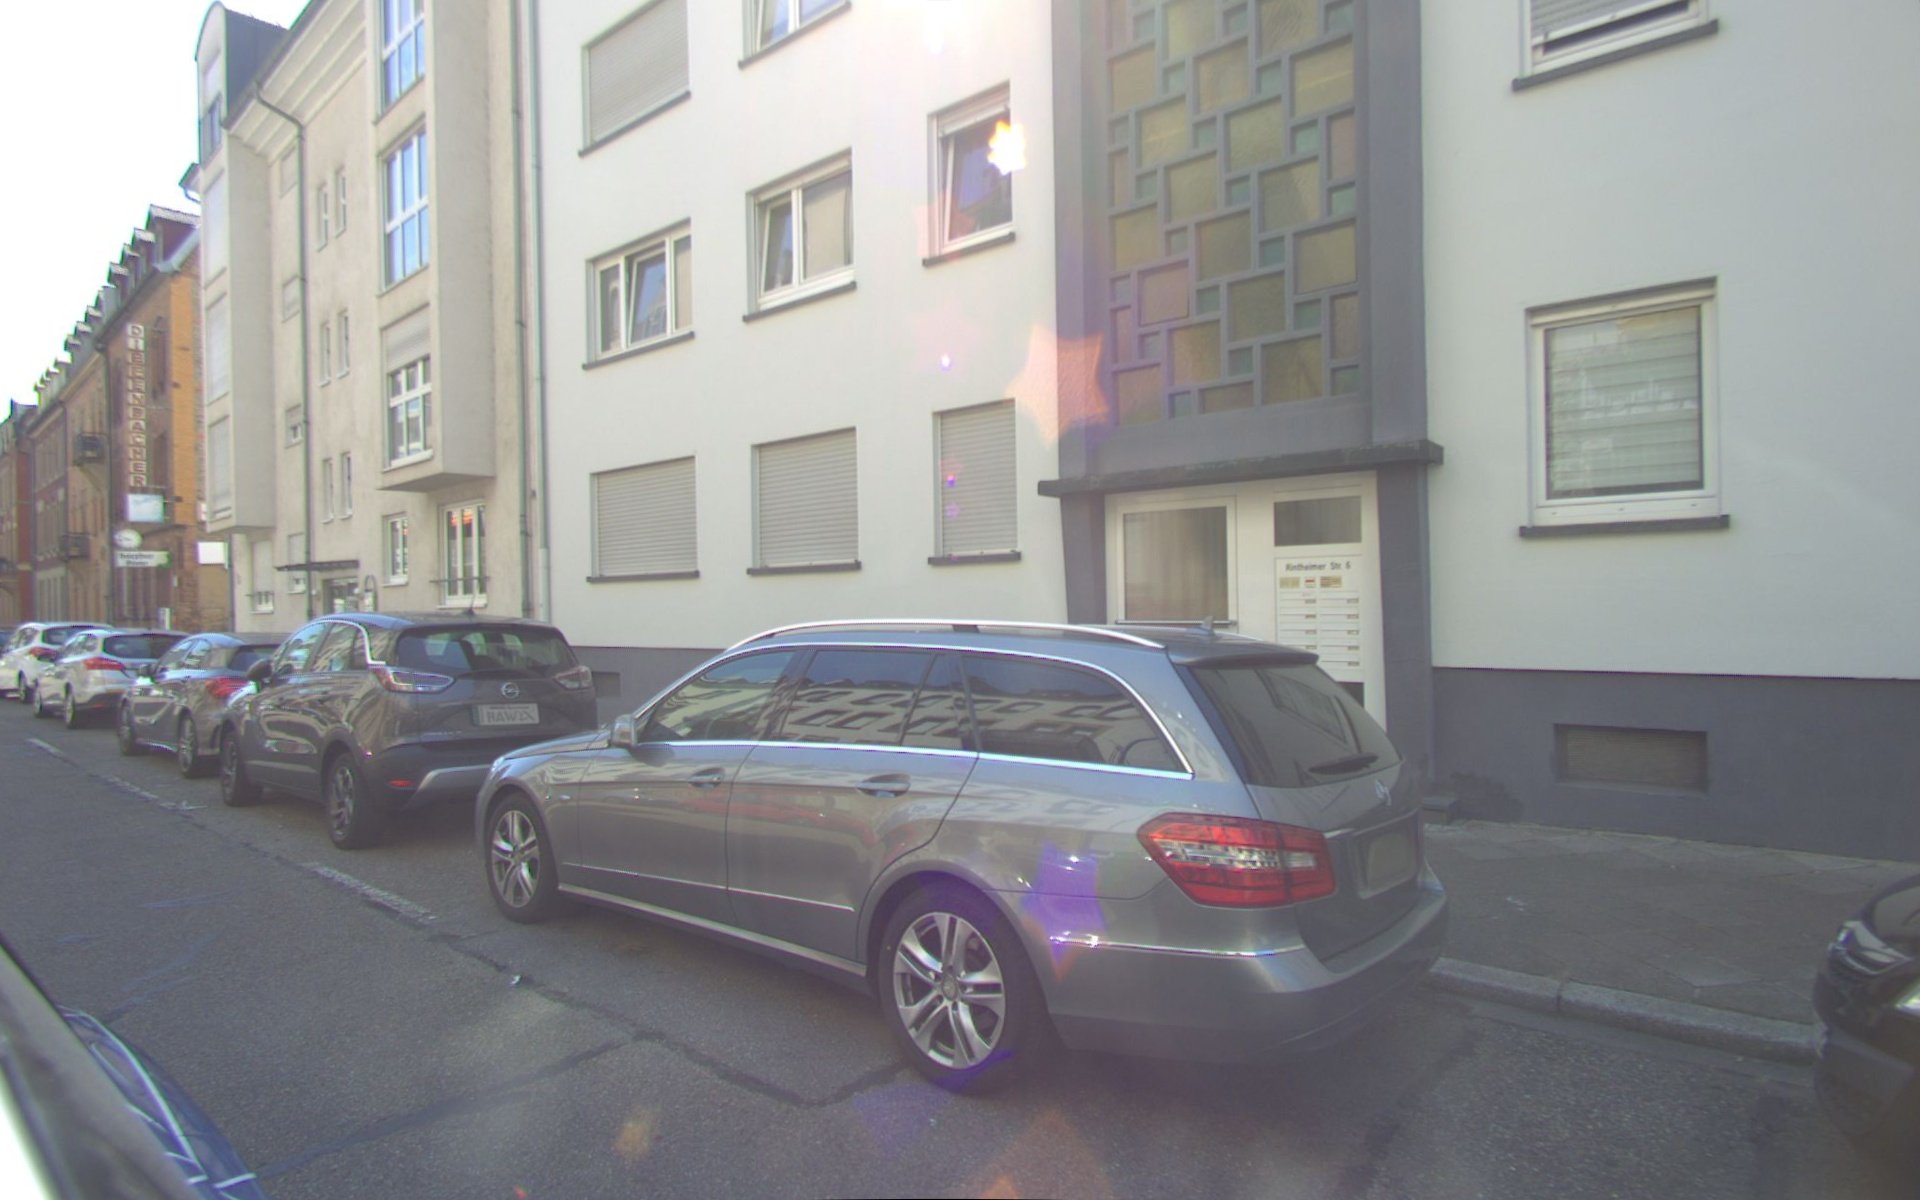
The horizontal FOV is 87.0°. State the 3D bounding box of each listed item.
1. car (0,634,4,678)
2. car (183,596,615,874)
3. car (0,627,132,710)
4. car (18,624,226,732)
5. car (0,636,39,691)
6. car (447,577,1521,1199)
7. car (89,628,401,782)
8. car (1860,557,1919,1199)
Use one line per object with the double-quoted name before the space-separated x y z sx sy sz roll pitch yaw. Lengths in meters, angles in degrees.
"car" -30.848 1.738 31.204 3.677 1.440 1.611 -2 -5 42
"car" -4.529 0.861 7.939 3.973 1.657 1.588 -1 -3 39
"car" -18.685 1.373 20.817 3.847 1.561 1.613 -1 -5 37
"car" -13.447 1.157 16.151 4.344 1.506 1.713 -1 -3 39
"car" -26.945 1.705 27.958 3.835 1.440 1.758 -2 -5 42
"car" -0.339 0.775 4.421 4.666 1.530 1.640 -1 -3 39
"car" -8.121 1.028 11.351 4.344 1.404 1.747 -1 -3 39
"car" 3.867 0.663 1.339 3.890 1.503 1.551 -1 -3 39
